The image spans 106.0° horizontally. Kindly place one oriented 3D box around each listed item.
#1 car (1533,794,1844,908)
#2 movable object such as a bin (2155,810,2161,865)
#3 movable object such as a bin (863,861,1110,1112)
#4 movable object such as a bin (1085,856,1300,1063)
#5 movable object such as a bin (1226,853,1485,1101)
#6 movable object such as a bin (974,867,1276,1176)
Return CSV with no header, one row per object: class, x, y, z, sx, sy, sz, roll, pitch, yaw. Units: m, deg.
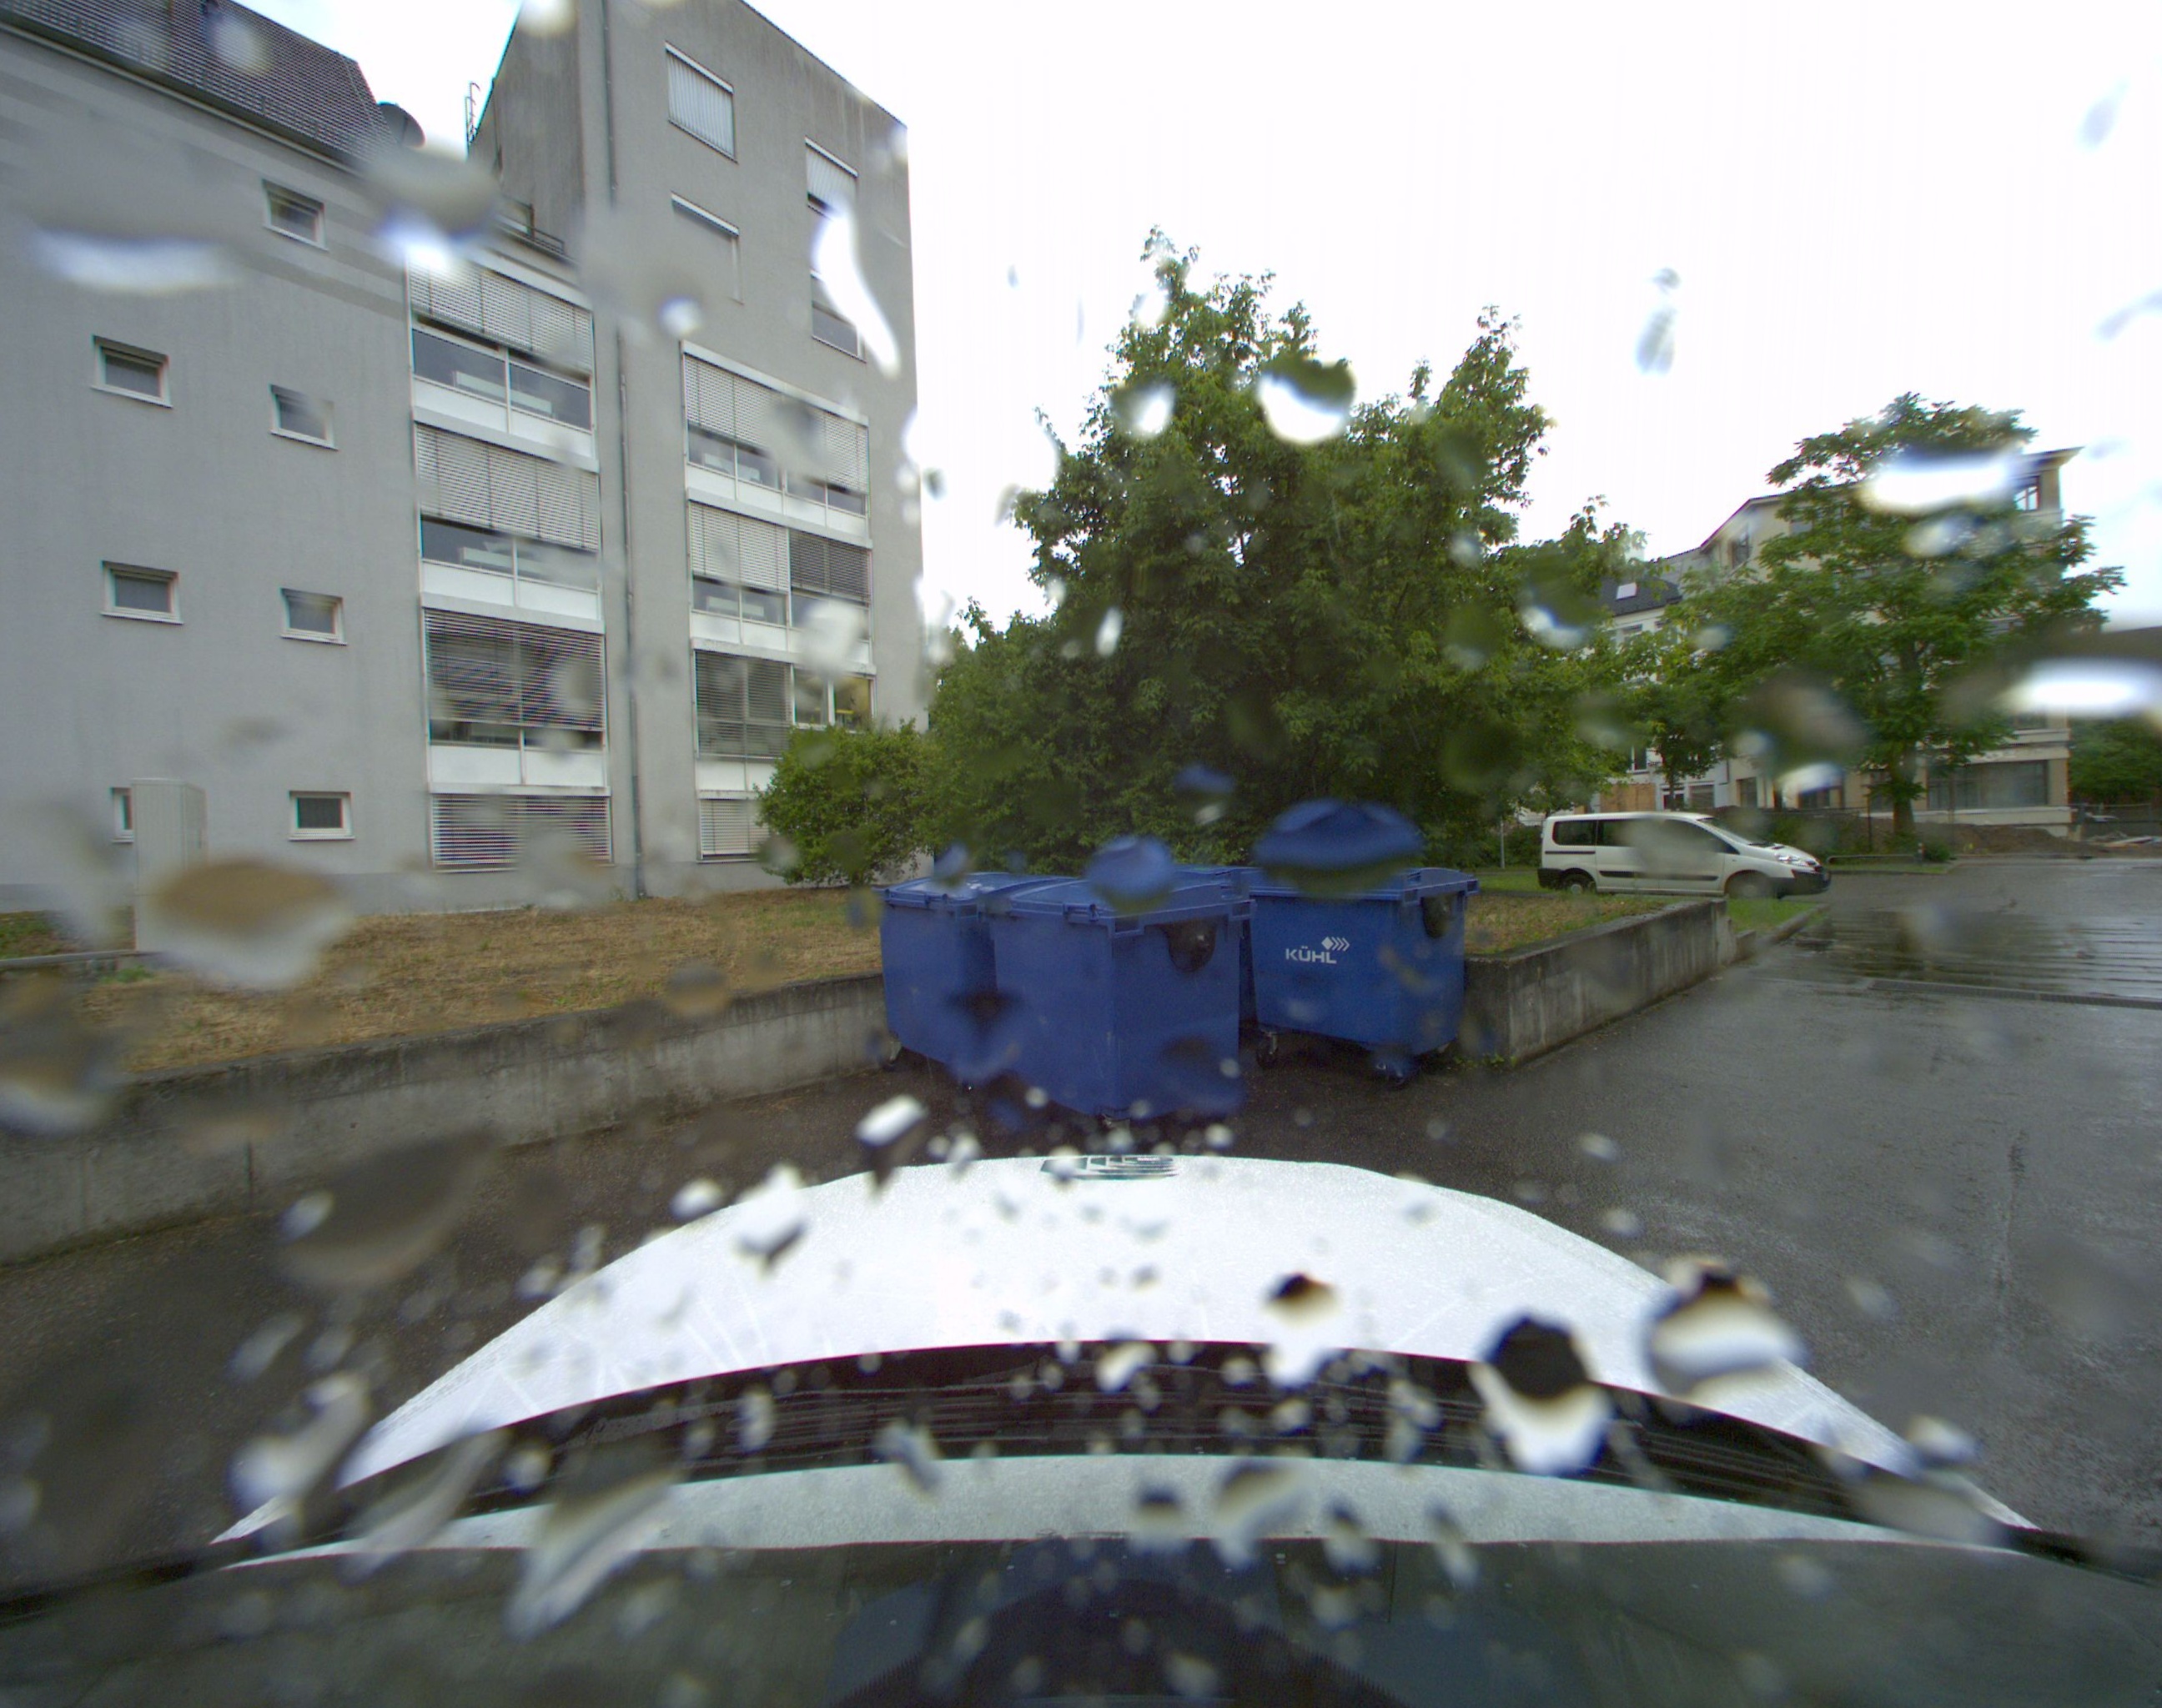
car,12.322,-0.030,16.823,2.010,2.013,4.740,-3,0,-39
movable object such as a bin,28.922,-0.434,21.085,1.266,1.437,1.204,1,-1,-42
movable object such as a bin,-0.644,0.765,5.455,1.123,1.336,1.193,-5,4,-40
movable object such as a bin,0.840,0.719,6.252,1.012,1.337,1.211,-4,2,-40
movable object such as a bin,1.773,0.693,5.321,1.012,1.337,1.211,-3,1,-40
movable object such as a bin,0.215,0.765,4.464,1.122,1.337,1.193,-2,0,-36
